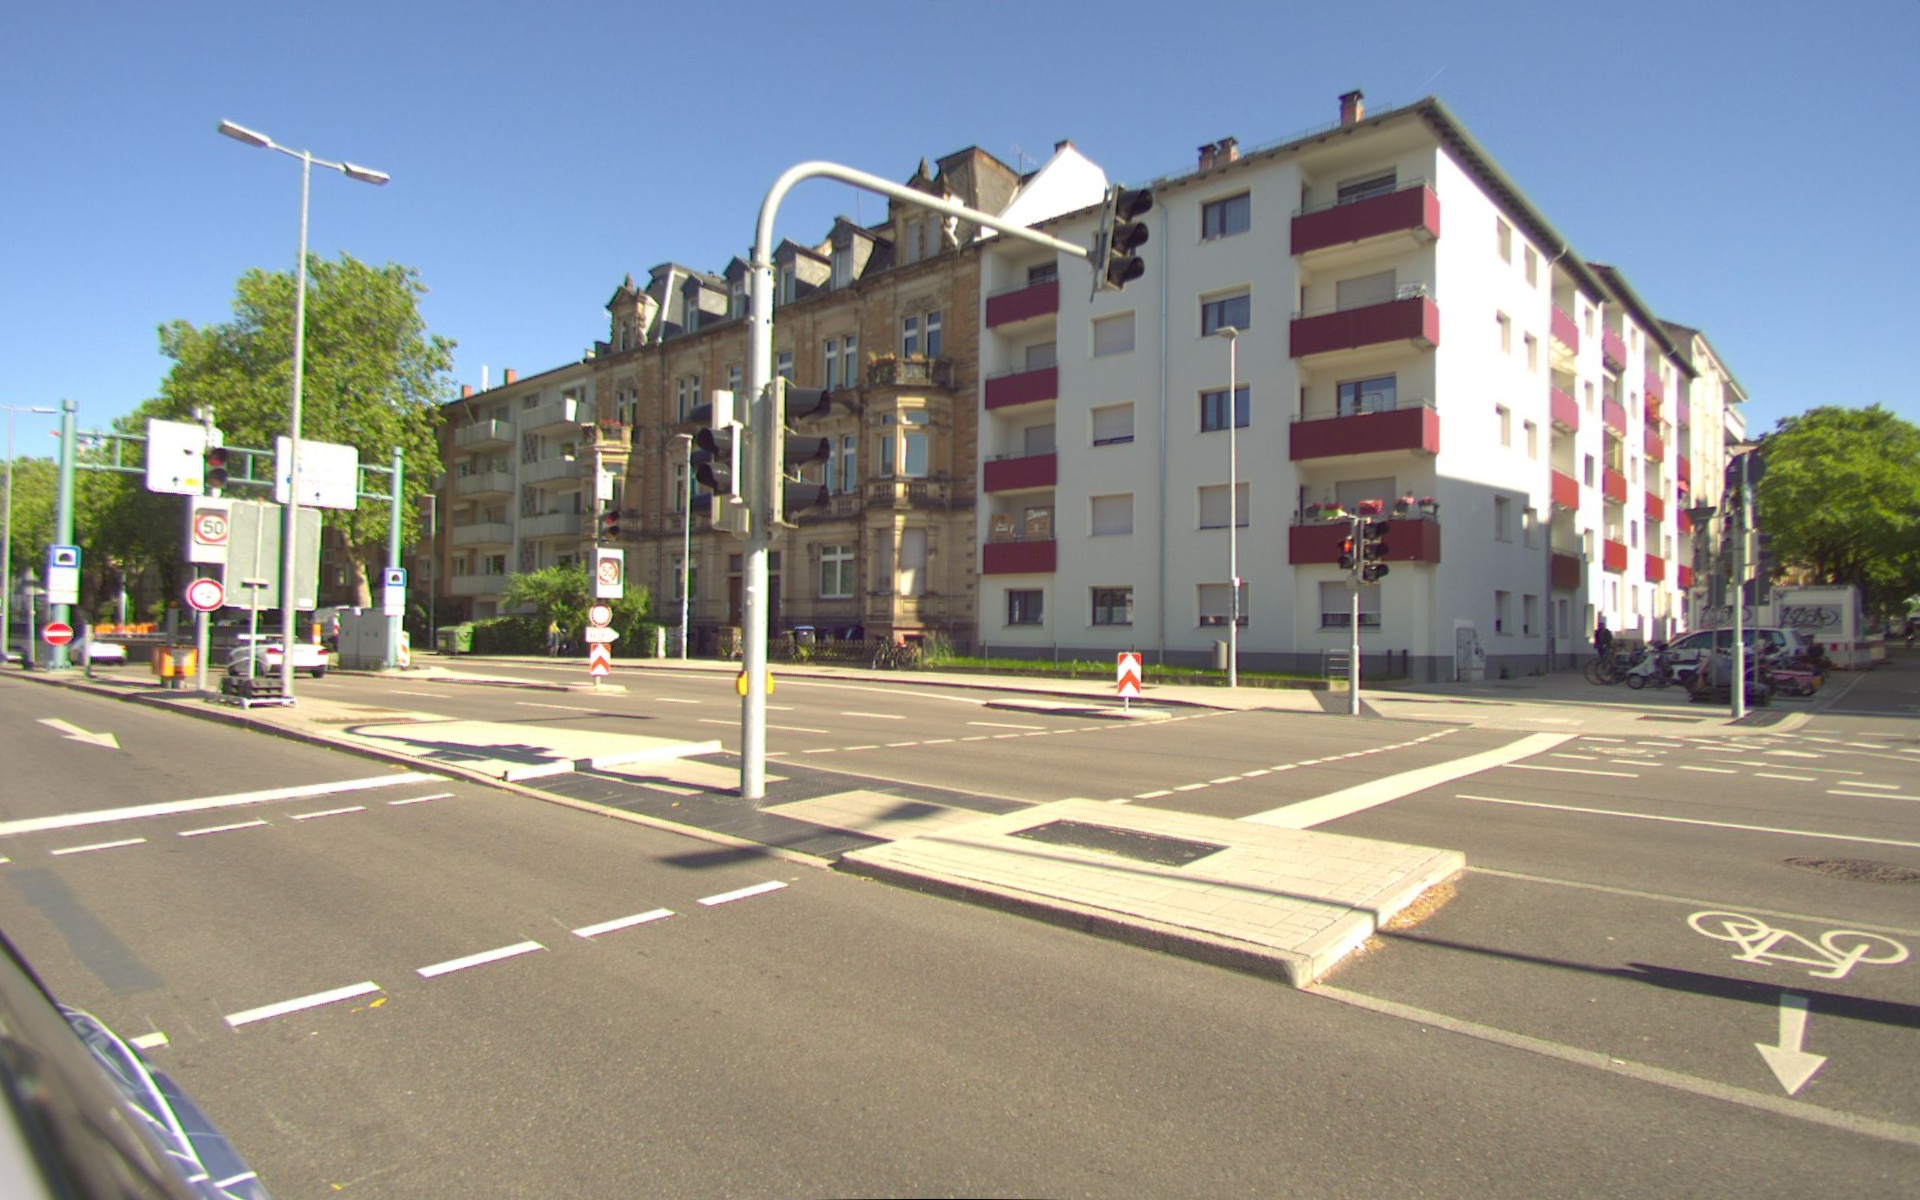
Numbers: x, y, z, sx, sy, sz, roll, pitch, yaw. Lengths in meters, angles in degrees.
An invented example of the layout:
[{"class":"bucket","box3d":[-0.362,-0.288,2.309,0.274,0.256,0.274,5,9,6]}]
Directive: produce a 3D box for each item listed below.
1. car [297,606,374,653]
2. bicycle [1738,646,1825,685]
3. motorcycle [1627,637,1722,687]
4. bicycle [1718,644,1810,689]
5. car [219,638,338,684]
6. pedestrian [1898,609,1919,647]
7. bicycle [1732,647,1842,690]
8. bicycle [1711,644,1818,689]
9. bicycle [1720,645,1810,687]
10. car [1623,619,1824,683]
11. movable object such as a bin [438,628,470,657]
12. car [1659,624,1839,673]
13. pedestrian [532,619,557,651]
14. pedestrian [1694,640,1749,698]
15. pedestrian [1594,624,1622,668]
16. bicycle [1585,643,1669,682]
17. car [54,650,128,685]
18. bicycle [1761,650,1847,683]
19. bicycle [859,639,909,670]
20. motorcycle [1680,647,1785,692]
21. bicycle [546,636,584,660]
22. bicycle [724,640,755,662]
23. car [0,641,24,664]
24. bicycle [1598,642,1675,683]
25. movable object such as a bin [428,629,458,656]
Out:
[{"class":"car","box3d":[-36.012,1.755,58.289,5.284,2.465,2.221,-3,-6,41]},{"class":"bicycle","box3d":[21.360,1.695,26.327,1.723,0.955,0.453,-1,-2,42]},{"class":"motorcycle","box3d":[17.360,1.495,24.620,0.604,1.150,1.786,2,-2,-41]},{"class":"bicycle","box3d":[19.907,1.630,25.091,1.736,1.077,0.483,-1,-2,43]},{"class":"car","box3d":[-21.429,1.867,31.769,4.311,1.356,1.912,-2,-3,39]},{"class":"pedestrian","box3d":[51.362,1.492,54.460,1.149,2.029,1.436,-1,-2,39]},{"class":"bicycle","box3d":[19.664,1.618,24.103,0.471,0.955,1.954,2,-2,-41]},{"class":"bicycle","box3d":[18.999,1.552,23.941,0.500,0.985,1.890,1,-2,-33]},{"class":"bicycle","box3d":[20.583,1.662,25.909,0.502,1.011,1.737,2,-2,-45]},{"class":"car","box3d":[22.570,1.459,30.038,1.970,1.744,4.483,2,-2,-44]},{"class":"movable object such as a bin","box3d":[-25.258,2.124,50.489,1.473,1.371,0.883,-3,-6,41]},{"class":"car","box3d":[26.152,1.571,33.645,4.574,1.541,1.740,-1,-2,43]},{"class":"pedestrian","box3d":[-18.413,1.544,44.808,1.089,1.388,0.561,-2,-3,38]},{"class":"pedestrian","box3d":[15.669,1.411,20.849,0.785,1.162,0.713,-1,-2,28]},{"class":"pedestrian","box3d":[22.426,1.582,35.015,0.694,1.508,0.593,-1,-2,43]},{"class":"bicycle","box3d":[17.397,1.618,26.421,0.567,0.976,1.737,2,-2,-45]},{"class":"car","box3d":[-42.587,3.319,49.585,4.385,1.464,1.974,-5,-2,39]},{"class":"bicycle","box3d":[22.355,1.750,26.837,1.708,0.820,0.412,0,-2,17]},{"class":"bicycle","box3d":[-2.421,1.718,32.116,1.938,0.965,0.301,-1,-3,41]},{"class":"motorcycle","box3d":[17.555,1.565,23.034,0.497,0.943,1.844,2,-2,-43]},{"class":"bicycle","box3d":[-17.444,2.107,44.659,2.247,1.013,0.462,-2,-2,39]},{"class":"bicycle","box3d":[-8.045,1.859,36.921,1.413,0.777,0.296,-2,-3,41]},{"class":"car","box3d":[-65.252,3.552,68.944,4.307,1.452,1.591,-2,-6,40]},{"class":"bicycle","box3d":[18.591,1.711,27.838,0.567,1.066,1.691,2,-2,-45]},{"class":"movable object such as a bin","box3d":[-26.278,2.169,51.438,1.313,1.373,0.884,-3,-5,39]}]
